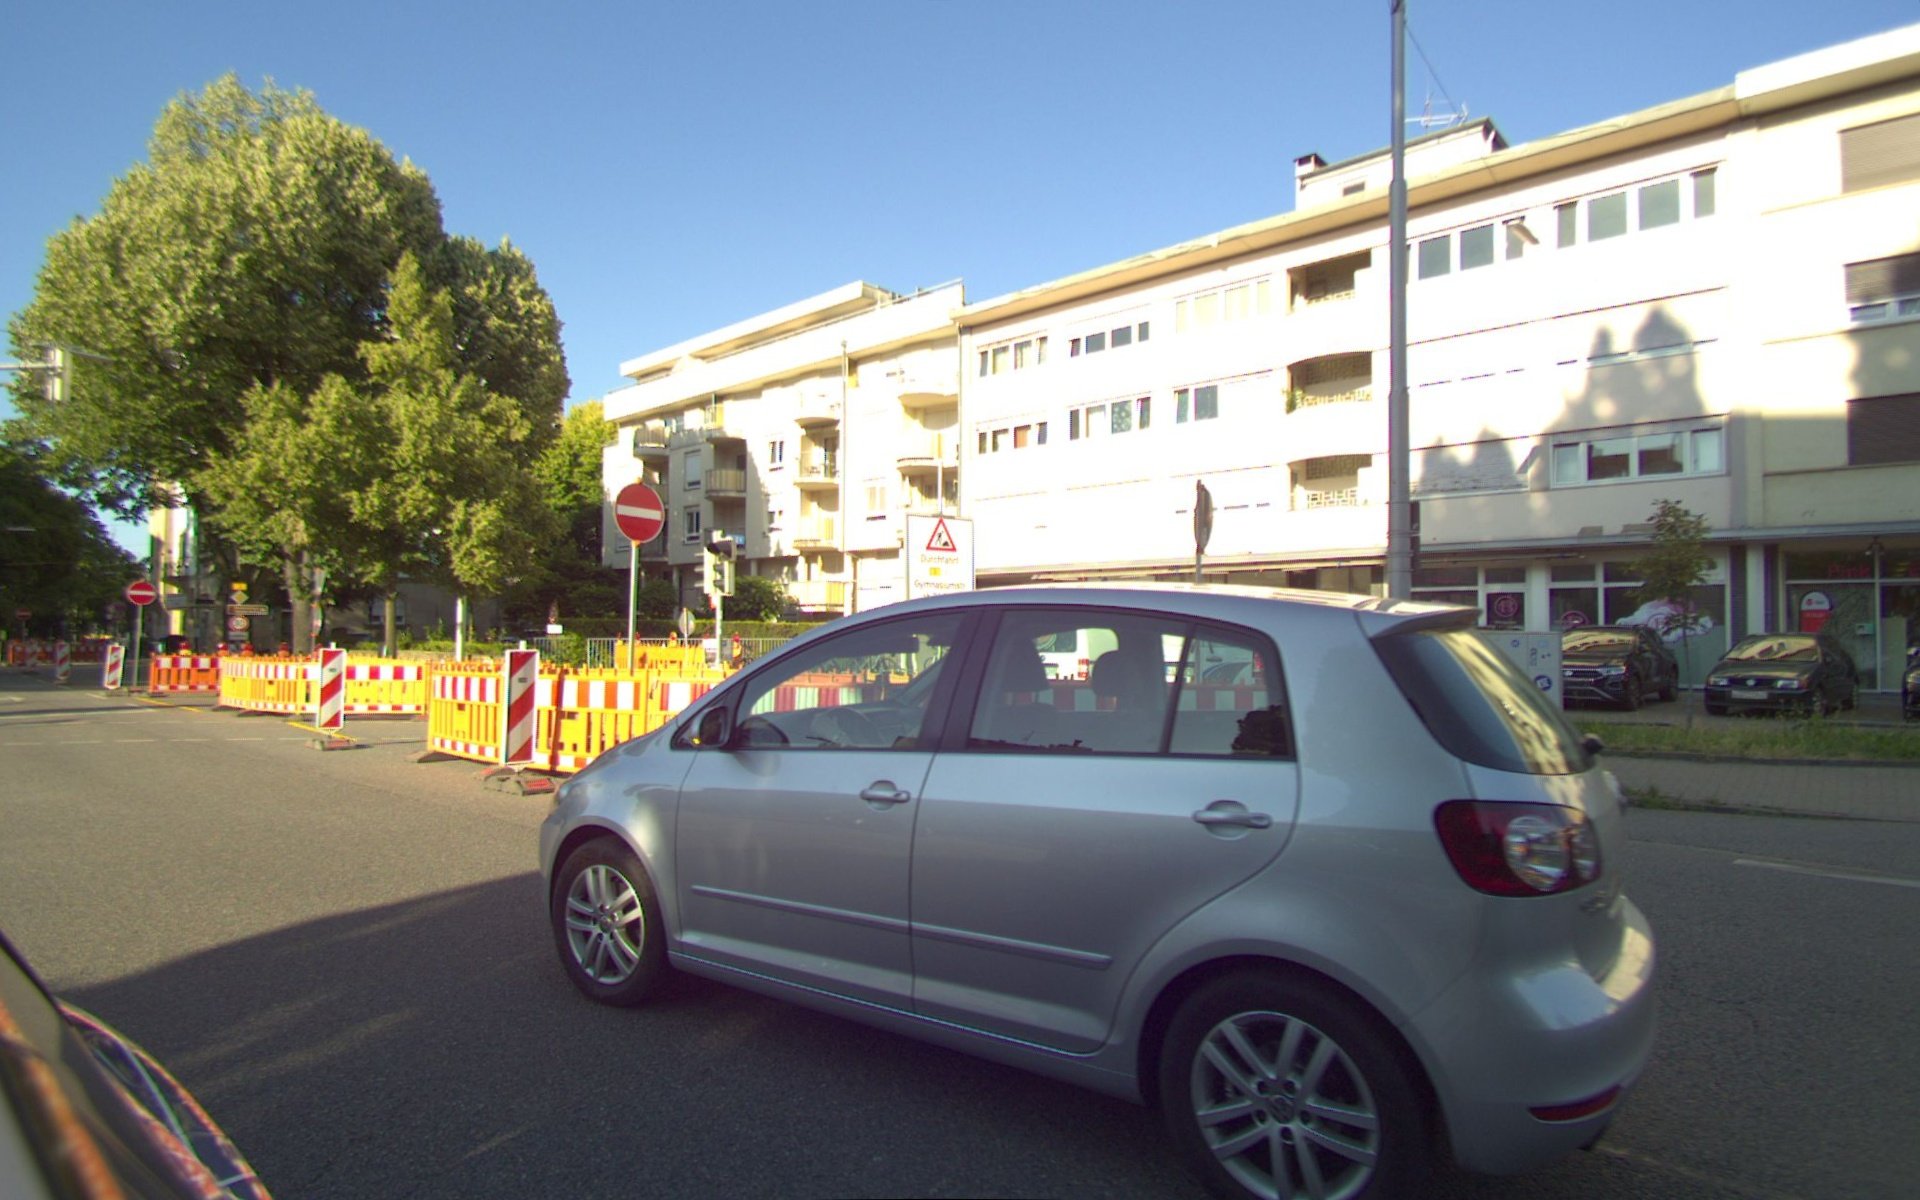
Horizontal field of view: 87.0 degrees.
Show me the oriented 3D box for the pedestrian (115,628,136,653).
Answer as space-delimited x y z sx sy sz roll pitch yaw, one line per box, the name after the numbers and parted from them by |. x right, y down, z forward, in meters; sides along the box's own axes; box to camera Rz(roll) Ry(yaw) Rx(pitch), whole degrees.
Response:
-53.101 2.575 64.393 0.916 1.615 0.813 -2 -2 38 | pedestrian

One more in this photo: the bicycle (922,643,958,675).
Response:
-0.696 2.035 35.049 1.358 1.054 0.379 -2 -2 44 | bicycle

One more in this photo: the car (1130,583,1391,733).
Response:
4.827 0.808 15.814 2.117 1.980 4.617 -2 -2 42 | car

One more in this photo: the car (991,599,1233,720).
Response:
2.767 0.951 17.842 4.262 1.866 2.002 0 -2 -44 | car

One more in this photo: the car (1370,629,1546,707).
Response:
10.607 1.367 21.431 4.263 1.409 2.002 0 -2 -44 | car

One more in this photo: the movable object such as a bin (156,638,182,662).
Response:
-48.955 3.109 62.632 1.406 1.442 1.071 -2 -2 41 | movable object such as a bin

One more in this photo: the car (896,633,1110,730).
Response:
0.897 1.465 19.316 2.000 1.490 3.948 -2 -1 42 | car

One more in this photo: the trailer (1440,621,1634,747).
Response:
7.693 1.019 13.384 1.574 1.407 3.219 -2 -2 42 | trailer

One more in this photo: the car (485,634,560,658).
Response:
-28.211 2.930 65.322 3.940 1.497 2.001 2 -3 -44 | car

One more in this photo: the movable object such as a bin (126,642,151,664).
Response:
-54.744 3.537 67.465 1.067 1.442 1.411 0 -2 -28 | movable object such as a bin

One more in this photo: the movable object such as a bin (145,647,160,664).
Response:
-51.104 3.523 64.048 0.629 1.049 0.764 0 -2 -44 | movable object such as a bin

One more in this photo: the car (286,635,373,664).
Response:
-36.341 2.842 58.395 3.940 1.564 2.001 2 -3 -44 | car

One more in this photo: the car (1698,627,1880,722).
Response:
14.824 1.234 18.014 4.263 1.409 2.002 0 -2 -44 | car

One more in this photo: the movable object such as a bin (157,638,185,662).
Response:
-47.813 3.019 61.328 1.345 1.442 1.071 -2 -2 41 | movable object such as a bin

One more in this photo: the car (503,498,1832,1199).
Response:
0.315 0.670 3.568 3.991 1.555 1.760 -2 -2 36 | car

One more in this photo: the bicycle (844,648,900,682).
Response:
-2.900 2.148 33.514 2.003 1.034 0.385 0 -2 -42 | bicycle
